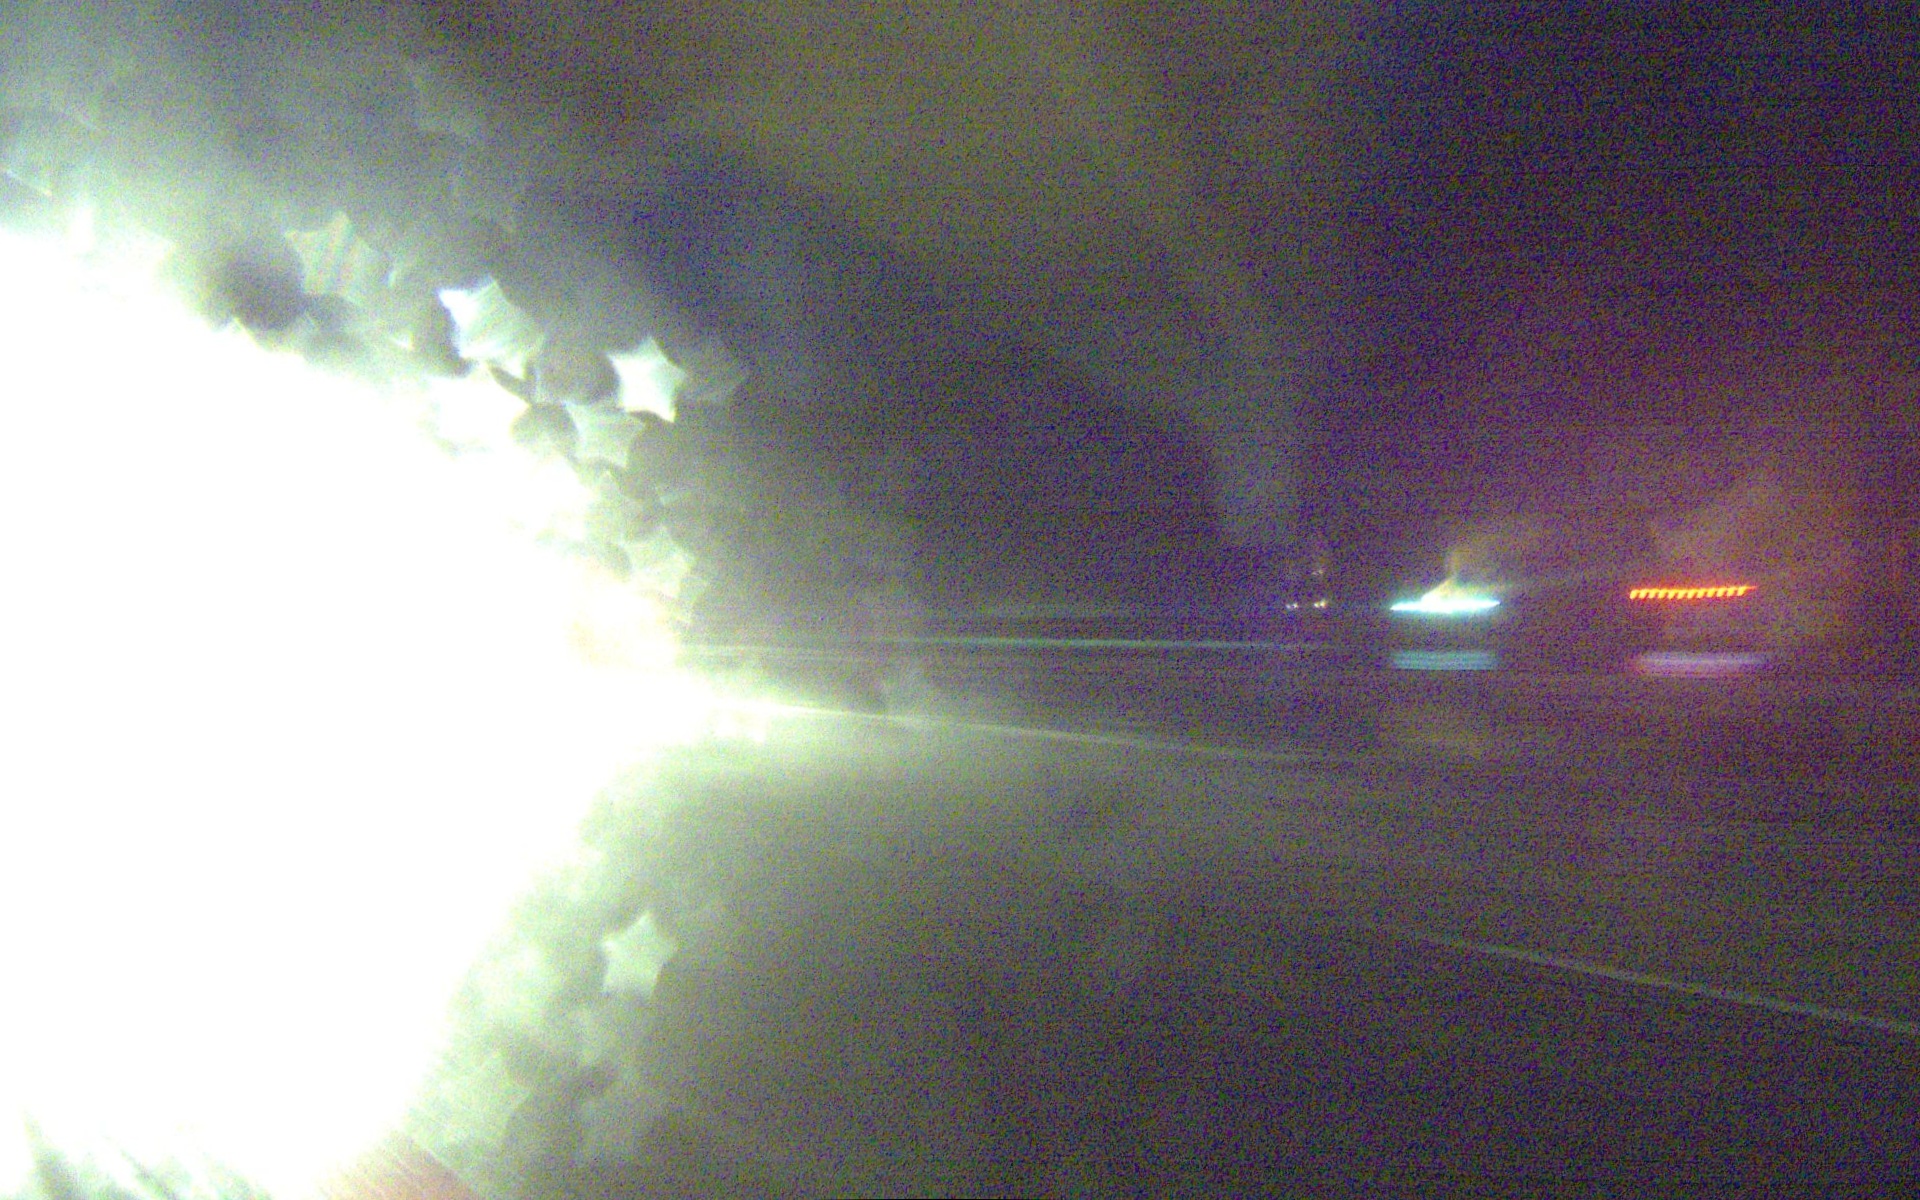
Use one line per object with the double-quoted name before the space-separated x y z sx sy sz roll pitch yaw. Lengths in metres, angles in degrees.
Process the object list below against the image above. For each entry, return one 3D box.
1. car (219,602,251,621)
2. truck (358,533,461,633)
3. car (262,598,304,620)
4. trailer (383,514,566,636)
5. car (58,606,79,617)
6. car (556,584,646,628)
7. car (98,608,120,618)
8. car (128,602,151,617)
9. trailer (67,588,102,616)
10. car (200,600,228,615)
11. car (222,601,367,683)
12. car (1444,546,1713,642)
"car" -67.548 1.082 94.314 1.787 1.624 4.202 -2 0 -44
"truck" -26.054 -0.815 47.788 5.853 4.436 2.536 0 2 45
"car" -53.969 0.701 80.663 4.333 1.660 1.822 0 2 43
"trailer" -20.775 -0.962 42.679 12.495 4.490 2.547 0 2 44
"car" -127.760 1.670 144.977 4.307 1.520 1.861 0 2 44
"car" -15.431 0.234 43.426 4.000 1.741 1.972 0 2 43
"car" -121.200 1.872 144.103 4.168 1.405 1.819 -1 1 43
"car" -108.698 1.263 134.055 1.869 1.924 4.847 -2 2 -45
"trailer" -135.660 0.357 156.791 3.316 4.204 11.728 -2 1 -44
"car" -77.945 0.755 105.742 1.744 1.506 3.805 -3 2 -45
"car" -14.295 0.865 21.663 3.847 1.587 1.632 -2 -1 41
"car" 11.767 -0.121 19.378 4.192 1.655 1.879 0 1 39
